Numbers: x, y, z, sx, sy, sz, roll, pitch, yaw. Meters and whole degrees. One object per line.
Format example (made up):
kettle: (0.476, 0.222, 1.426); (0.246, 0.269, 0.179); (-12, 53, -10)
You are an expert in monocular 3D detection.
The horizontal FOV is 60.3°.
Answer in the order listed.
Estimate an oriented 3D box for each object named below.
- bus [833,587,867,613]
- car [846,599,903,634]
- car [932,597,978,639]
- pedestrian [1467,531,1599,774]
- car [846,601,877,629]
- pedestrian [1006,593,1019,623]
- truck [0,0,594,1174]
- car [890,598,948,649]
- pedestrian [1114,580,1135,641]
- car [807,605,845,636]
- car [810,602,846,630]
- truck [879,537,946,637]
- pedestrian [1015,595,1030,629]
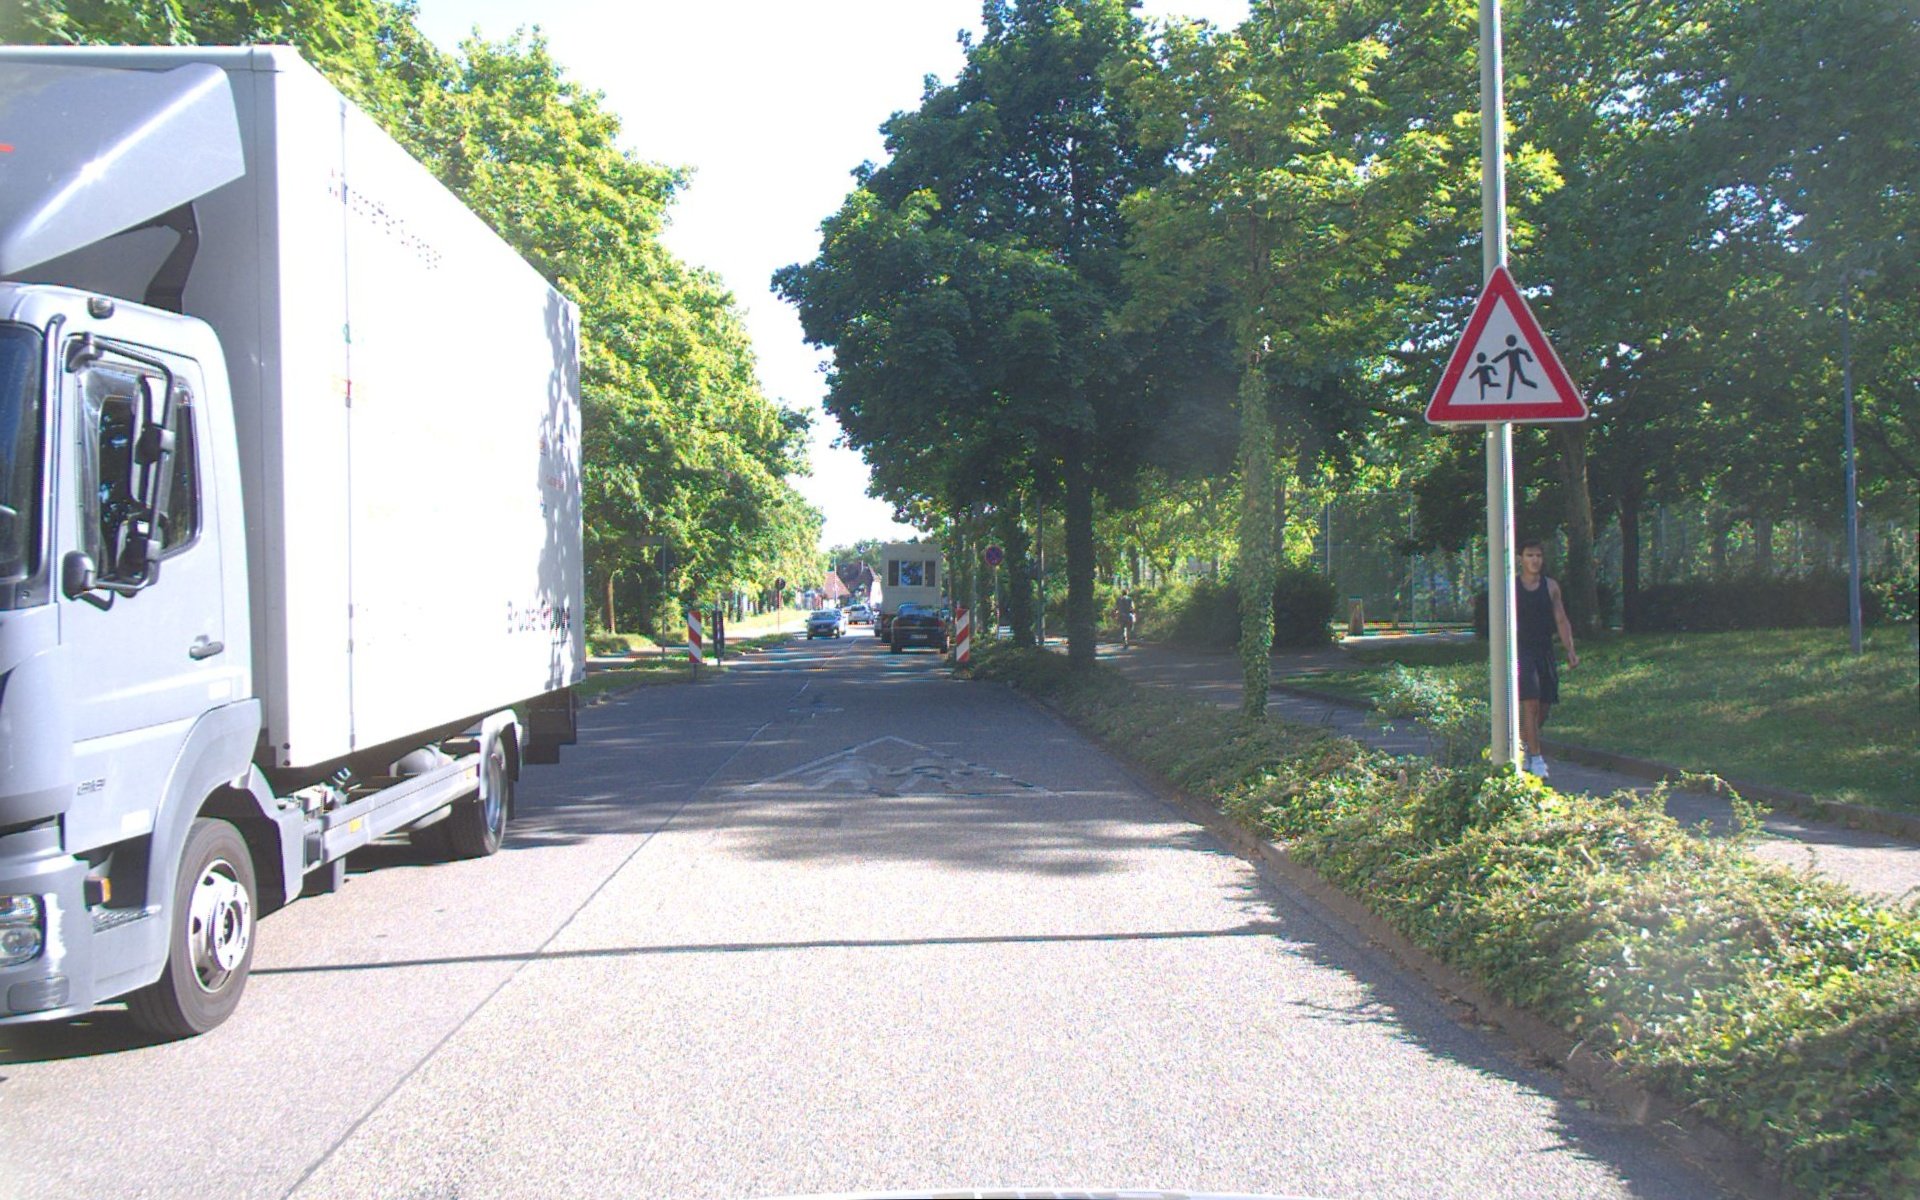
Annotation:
bus: (-15.031, -0.029, 227.325); (3.982, 3.407, 9.799); (-2, 0, 0)
car: (-4.291, 0.818, 83.240); (1.951, 1.713, 4.003); (-1, 0, 11)
car: (-0.202, 0.665, 62.432); (1.606, 1.445, 4.000); (-3, 0, 0)
pedestrian: (4.523, 0.405, 13.082); (0.775, 1.864, 0.671); (-1, 0, -3)
car: (-7.733, 1.175, 130.034); (1.952, 2.049, 4.002); (-2, 0, 3)
pedestrian: (2.922, 0.443, 91.532); (0.587, 1.639, 0.599); (-2, 0, -6)
truck: (-3.927, -0.275, 8.478); (2.680, 3.705, 8.095); (-1, 0, -3)
car: (-1.233, 0.714, 50.715); (1.713, 1.506, 4.029); (0, -1, -1)
pedestrian: (4.485, 0.282, 45.081); (0.559, 1.636, 0.671); (-1, 0, 7)
car: (-6.848, 1.046, 84.682); (1.568, 1.451, 3.652); (-2, 0, 1)
car: (-7.465, 0.894, 93.550); (1.720, 1.479, 4.242); (-2, 0, -1)
truck: (-2.194, -0.534, 72.762); (2.717, 4.066, 10.341); (0, 0, -3)
pedestrian: (3.471, 0.669, 91.419); (0.684, 1.844, 0.699); (-2, 0, -6)
